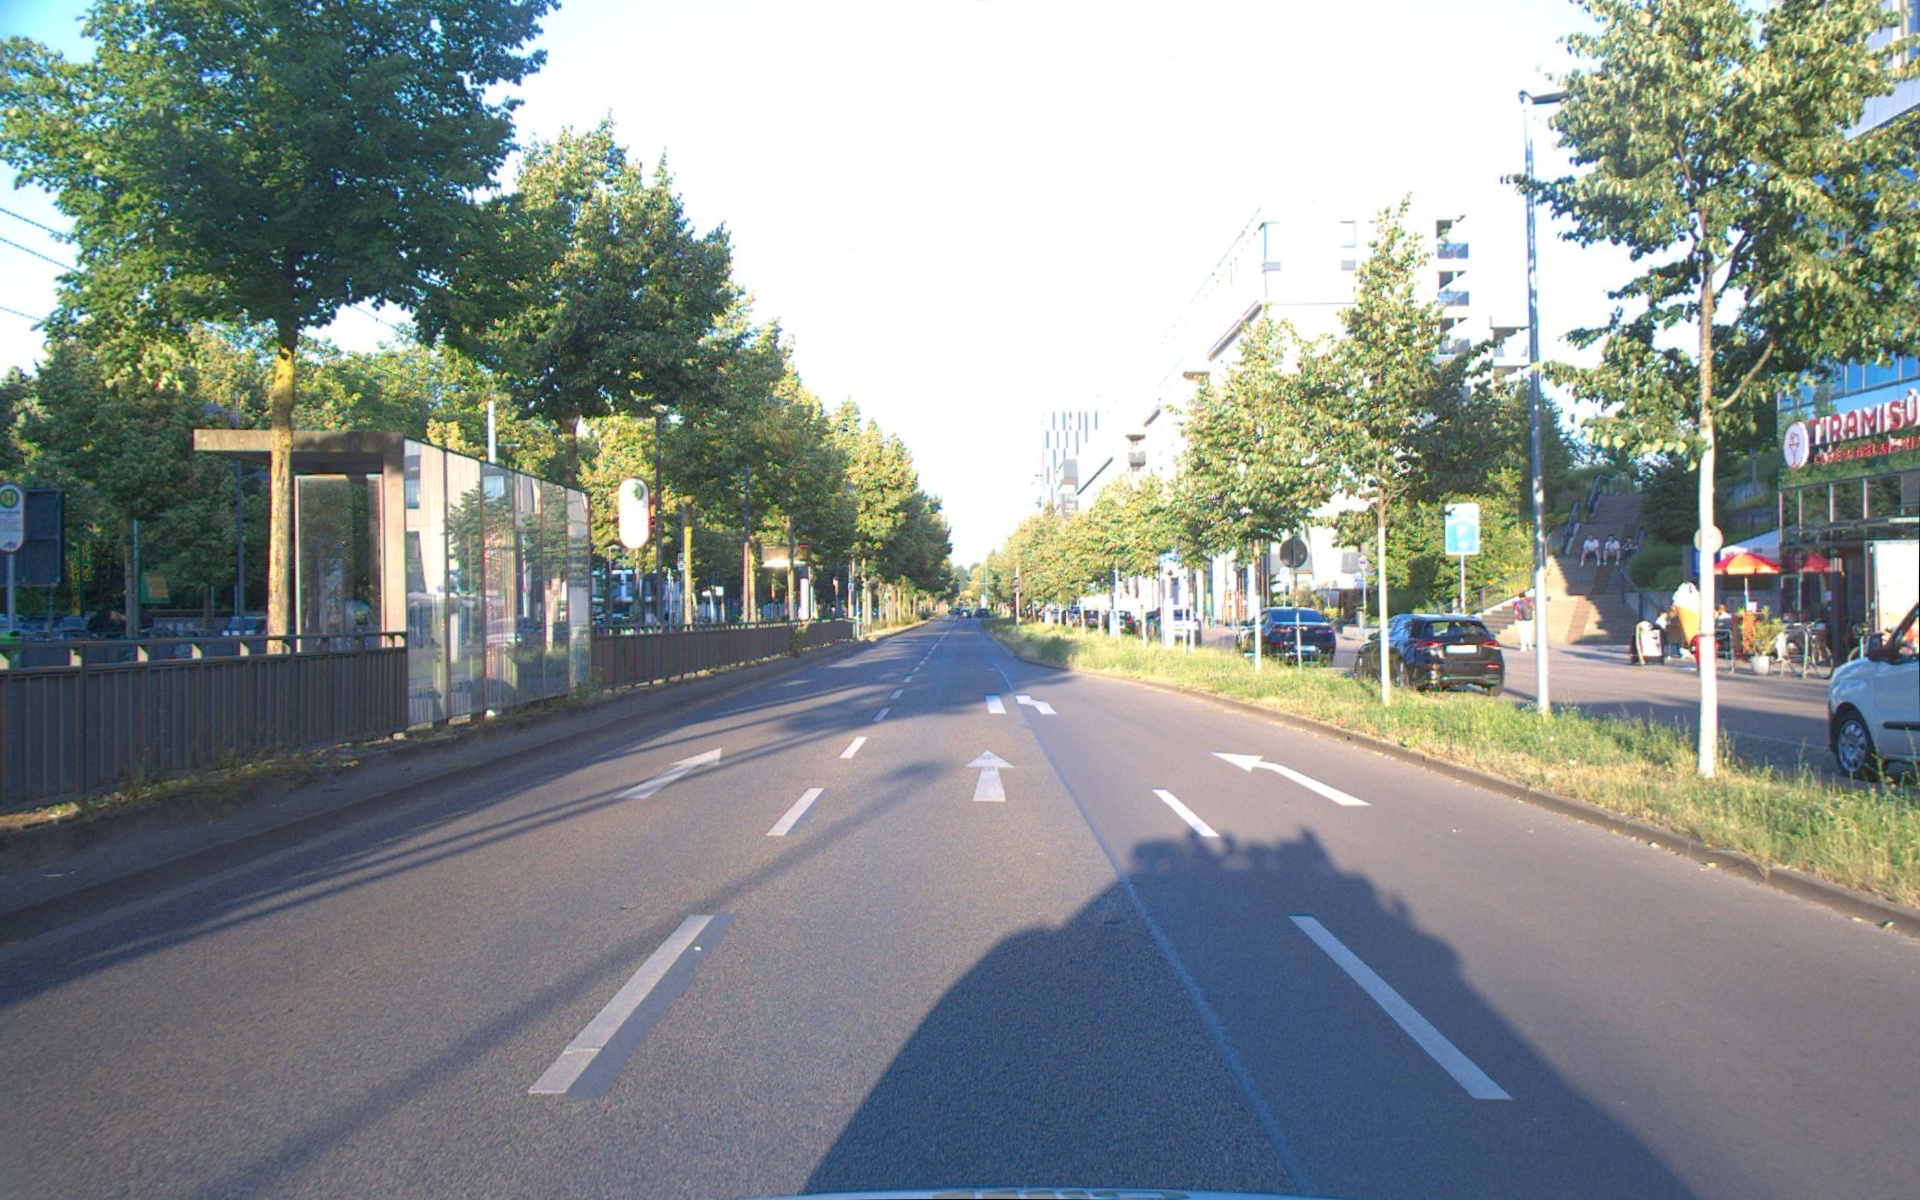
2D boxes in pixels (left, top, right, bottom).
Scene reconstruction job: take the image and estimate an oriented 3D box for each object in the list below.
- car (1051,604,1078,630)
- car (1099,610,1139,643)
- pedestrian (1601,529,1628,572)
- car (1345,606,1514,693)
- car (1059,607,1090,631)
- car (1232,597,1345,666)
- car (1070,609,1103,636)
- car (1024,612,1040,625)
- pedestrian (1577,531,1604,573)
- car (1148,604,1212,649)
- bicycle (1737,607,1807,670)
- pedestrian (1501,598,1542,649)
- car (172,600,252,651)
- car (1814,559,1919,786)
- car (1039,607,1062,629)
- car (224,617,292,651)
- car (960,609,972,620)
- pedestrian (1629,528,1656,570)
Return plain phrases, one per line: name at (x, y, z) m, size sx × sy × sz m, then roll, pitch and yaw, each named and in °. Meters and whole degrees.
car at (8.590, 1.383, 136.220) m, size 1.953 × 2.049 × 3.999 m, roll -1°, pitch -1°, yaw -1°
car at (8.674, 1.427, 90.464) m, size 1.987 × 1.726 × 4.398 m, roll 1°, pitch -1°, yaw 3°
pedestrian at (24.108, -1.815, 60.931) m, size 0.796 × 1.481 × 1.112 m, roll -3°, pitch -1°, yaw 26°
car at (8.554, 0.872, 30.550) m, size 1.788 × 1.460 × 4.458 m, roll 1°, pitch -1°, yaw -1°
car at (8.339, 1.373, 120.987) m, size 1.737 × 1.665 × 3.558 m, roll -1°, pitch -1°, yaw -5°
car at (8.751, 0.815, 44.498) m, size 1.953 × 1.726 × 4.591 m, roll 1°, pitch -1°, yaw -2°
car at (8.705, 1.563, 114.186) m, size 1.856 × 1.802 × 3.946 m, roll -1°, pitch 0°, yaw -1°
car at (8.839, 2.278, 203.550) m, size 1.661 × 1.624 × 3.999 m, roll -2°, pitch -1°, yaw -1°
pedestrian at (23.424, -1.781, 61.437) m, size 0.796 × 1.481 × 1.112 m, roll -3°, pitch -1°, yaw 26°
car at (8.932, 1.075, 67.487) m, size 1.953 × 1.726 × 4.414 m, roll 1°, pitch -1°, yaw -1°
bicycle at (15.755, 0.731, 32.127) m, size 0.481 × 1.175 × 1.635 m, roll -1°, pitch -1°, yaw -2°
pedestrian at (16.676, 0.700, 49.148) m, size 0.808 × 1.467 × 1.055 m, roll -1°, pitch -1°, yaw -1°
car at (-33.560, 1.138, 74.299) m, size 1.738 × 2.223 × 4.000 m, roll -1°, pitch -1°, yaw 1°
car at (8.748, 0.602, 13.029) m, size 1.813 × 1.860 × 4.395 m, roll 1°, pitch -1°, yaw 1°
car at (8.837, 1.733, 161.344) m, size 1.953 × 2.049 × 3.999 m, roll -1°, pitch -1°, yaw -1°
car at (-40.265, 1.927, 94.950) m, size 1.867 × 1.847 × 4.221 m, roll -2°, pitch -1°, yaw 3°
car at (0.911, 2.148, 243.028) m, size 1.661 × 1.624 × 3.999 m, roll -2°, pitch -1°, yaw -1°
pedestrian at (24.929, -1.855, 60.368) m, size 0.796 × 1.481 × 1.112 m, roll -3°, pitch -1°, yaw 26°
